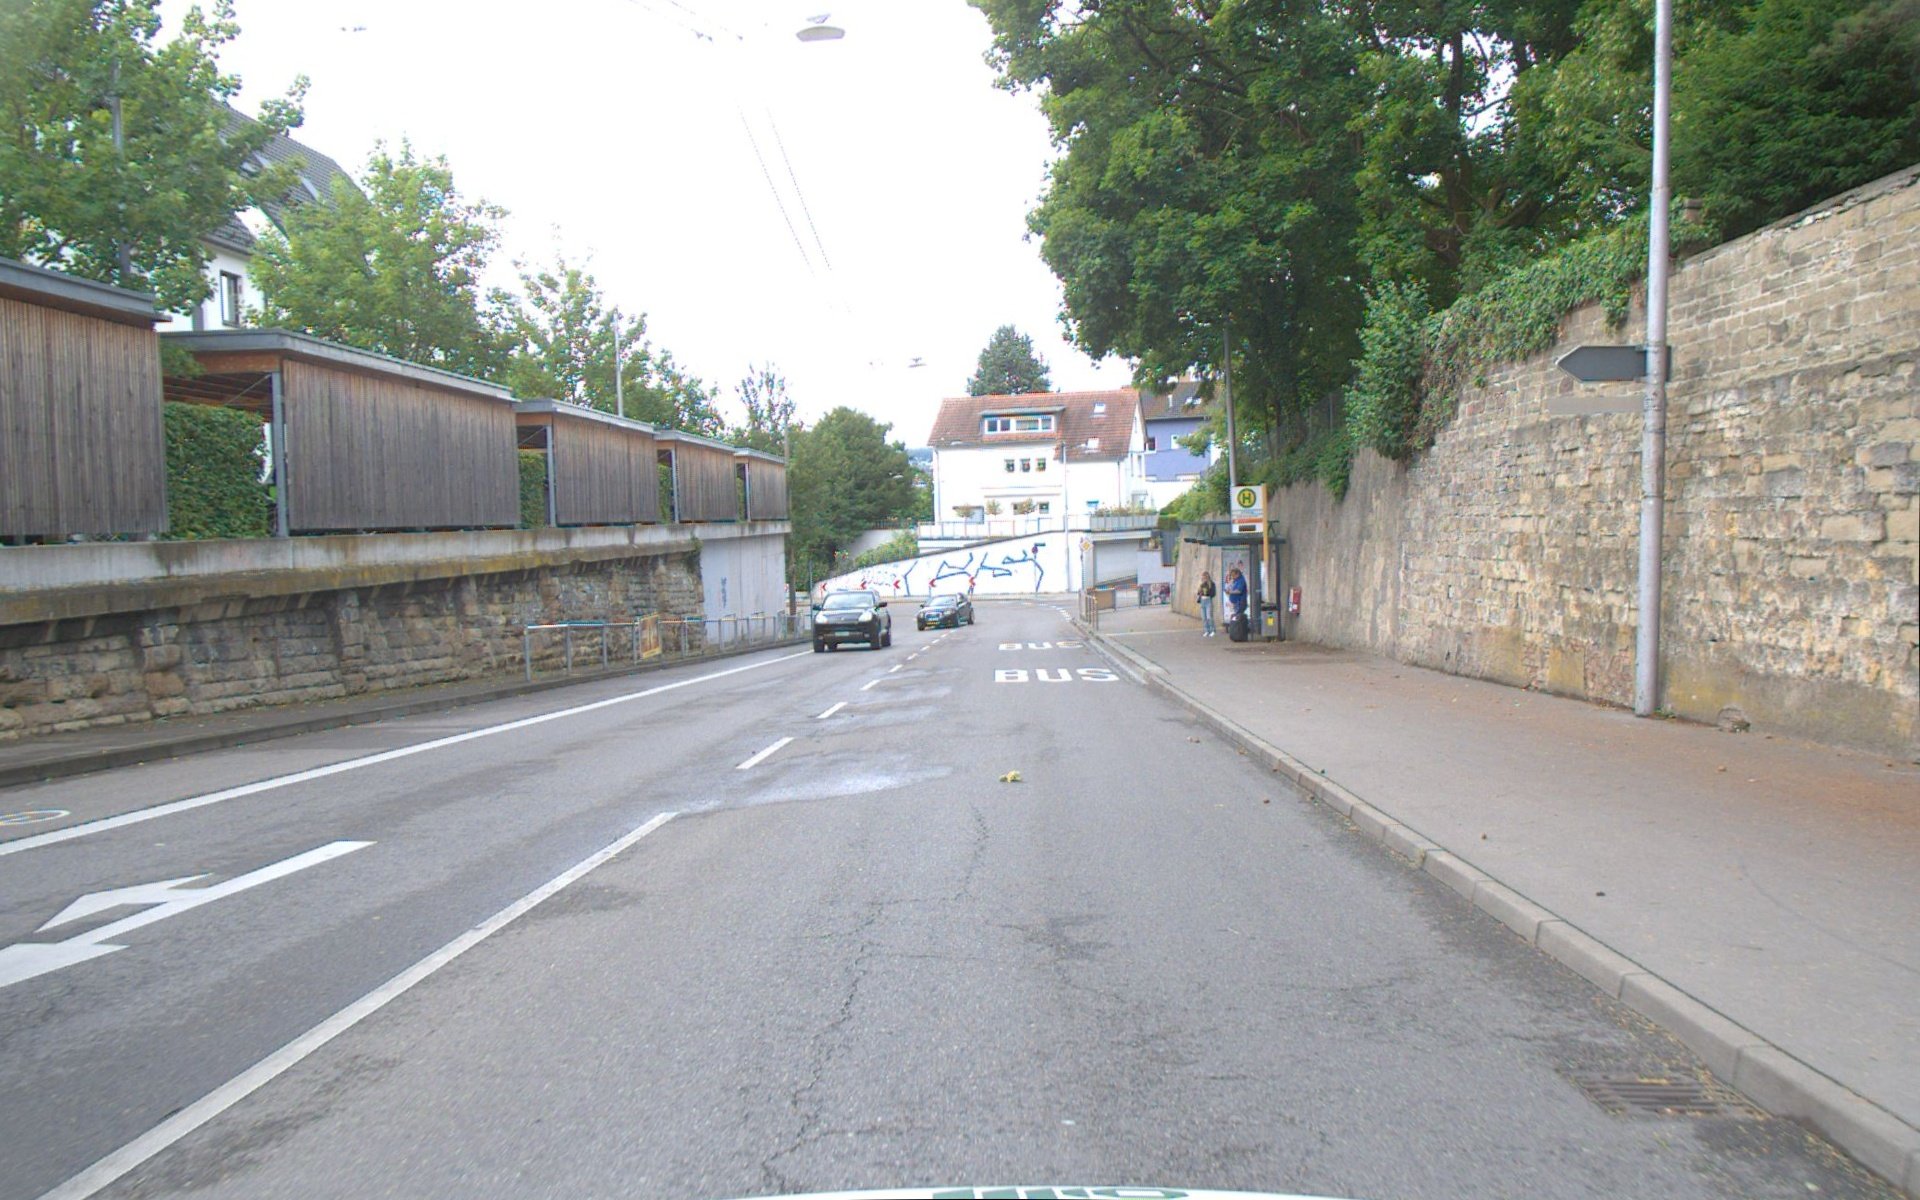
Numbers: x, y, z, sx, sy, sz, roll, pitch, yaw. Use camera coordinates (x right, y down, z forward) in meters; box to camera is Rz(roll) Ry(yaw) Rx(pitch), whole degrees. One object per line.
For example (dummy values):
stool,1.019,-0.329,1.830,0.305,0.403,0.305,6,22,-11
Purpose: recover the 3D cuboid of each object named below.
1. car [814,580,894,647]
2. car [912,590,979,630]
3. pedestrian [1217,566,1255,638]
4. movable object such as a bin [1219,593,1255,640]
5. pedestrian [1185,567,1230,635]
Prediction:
car,-3.010,0.374,47.859,1.855,1.787,4.438,-2,0,1
car,-0.585,0.396,69.808,1.698,1.559,4.003,-2,0,16
pedestrian,6.483,0.044,38.883,0.706,1.671,0.630,-2,0,-3
movable object such as a bin,6.400,0.380,38.218,0.661,1.038,0.626,-2,1,-3
pedestrian,6.170,0.023,41.200,0.724,1.615,0.768,-2,1,43
